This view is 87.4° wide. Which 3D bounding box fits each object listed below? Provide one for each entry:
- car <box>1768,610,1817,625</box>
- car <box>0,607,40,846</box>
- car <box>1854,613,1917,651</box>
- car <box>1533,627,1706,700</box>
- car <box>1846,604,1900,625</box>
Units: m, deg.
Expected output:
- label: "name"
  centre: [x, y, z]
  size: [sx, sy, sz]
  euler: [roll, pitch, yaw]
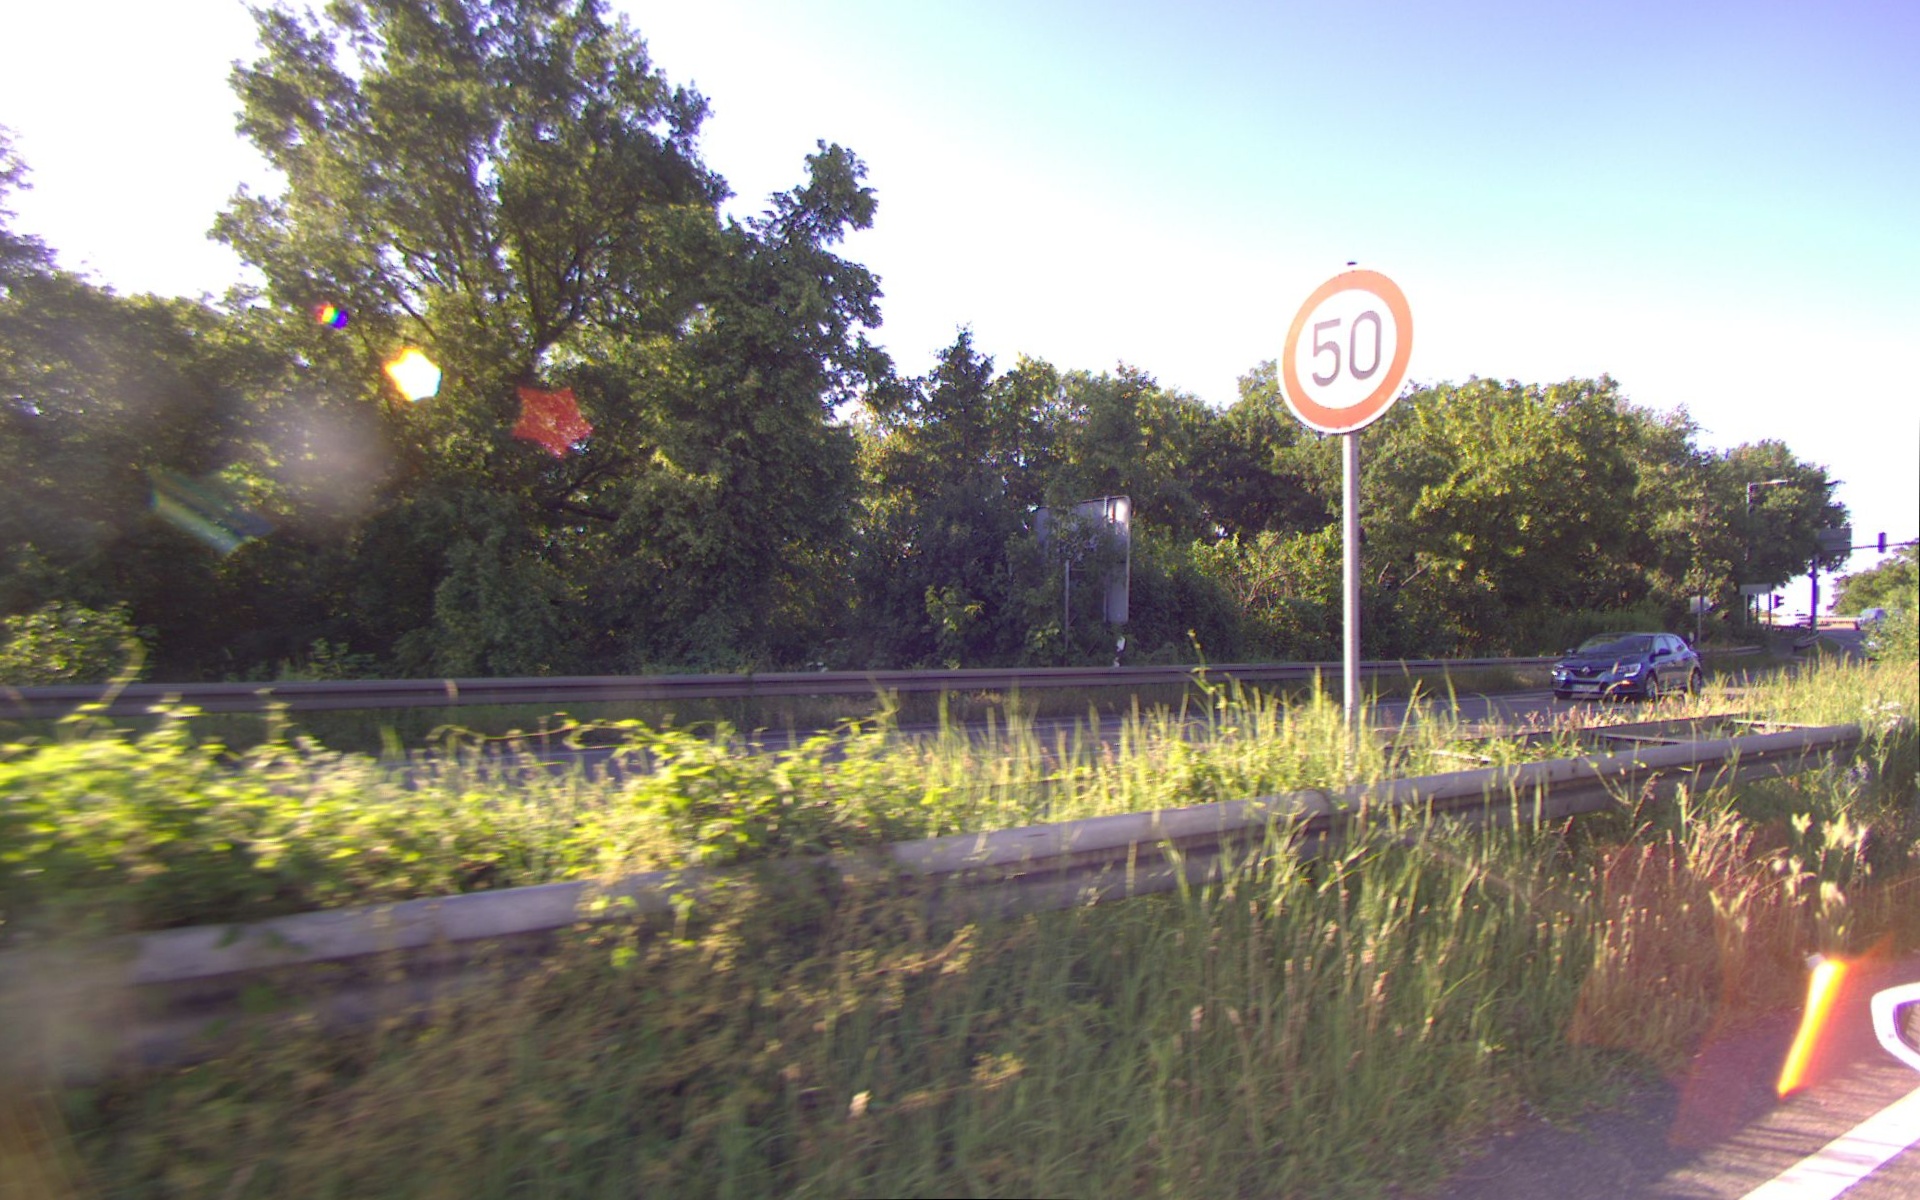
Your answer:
- label: "car"
  centre: [84.430, 1.756, 101.957]
  size: [2.227, 1.528, 4.002]
  euler: [0, -1, 12]
- label: "car"
  centre: [-7.631, 0.730, 4.795]
  size: [4.482, 1.435, 1.795]
  euler: [1, -2, -33]
- label: "car"
  centre: [40.523, 1.377, 43.939]
  size: [1.866, 1.540, 4.190]
  euler: [-2, -1, 45]
- label: "car"
  centre: [14.509, 1.333, 22.037]
  size: [4.325, 1.438, 1.872]
  euler: [1, -3, -38]
- label: "car"
  centre: [77.283, 1.232, 85.123]
  size: [1.936, 1.721, 4.000]
  euler: [-1, 0, 19]
